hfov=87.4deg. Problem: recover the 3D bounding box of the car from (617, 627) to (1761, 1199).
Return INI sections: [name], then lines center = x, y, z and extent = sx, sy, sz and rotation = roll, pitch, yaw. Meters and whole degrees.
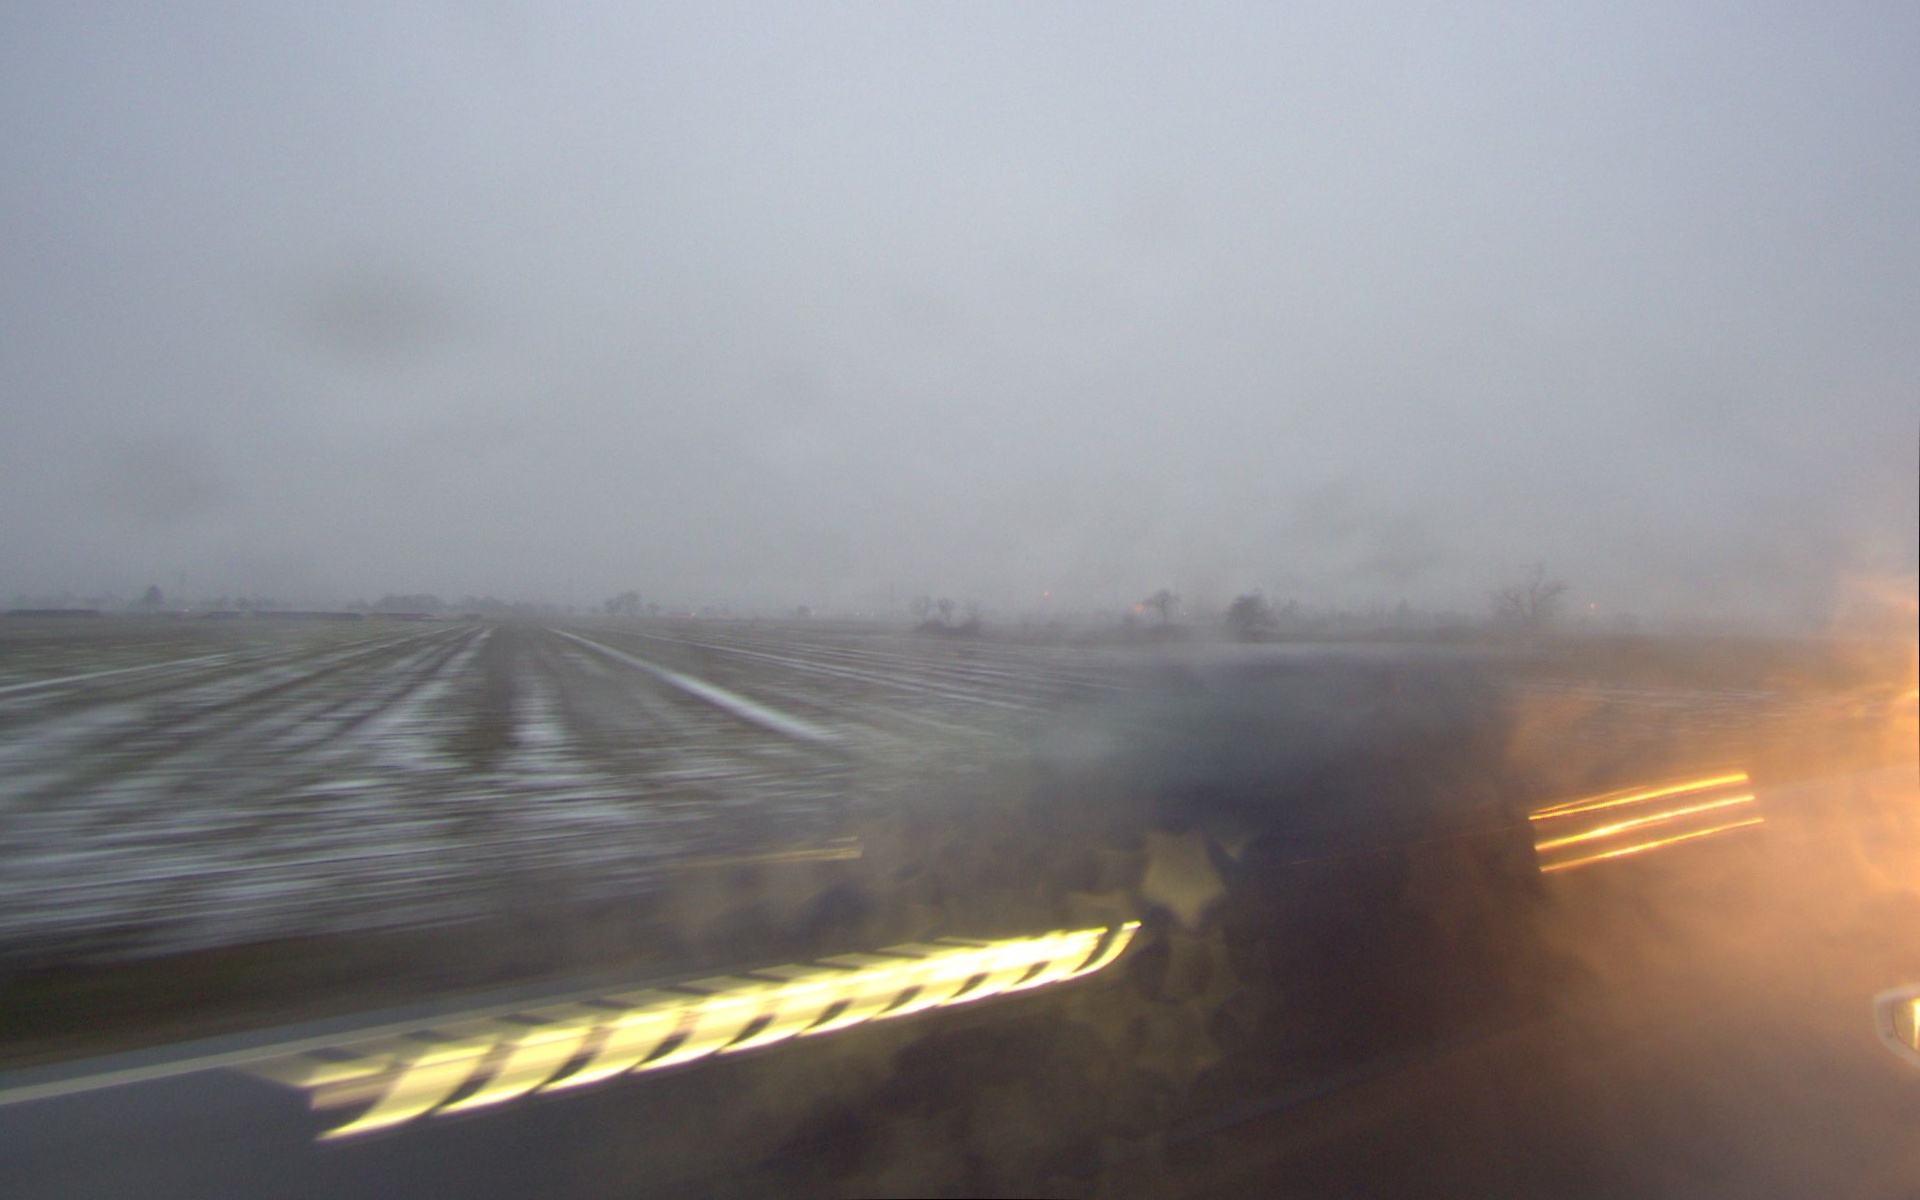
[car]
center = 0.988, 0.857, 3.659
extent = 3.977, 1.431, 1.720
rotation = 1, -4, -31
